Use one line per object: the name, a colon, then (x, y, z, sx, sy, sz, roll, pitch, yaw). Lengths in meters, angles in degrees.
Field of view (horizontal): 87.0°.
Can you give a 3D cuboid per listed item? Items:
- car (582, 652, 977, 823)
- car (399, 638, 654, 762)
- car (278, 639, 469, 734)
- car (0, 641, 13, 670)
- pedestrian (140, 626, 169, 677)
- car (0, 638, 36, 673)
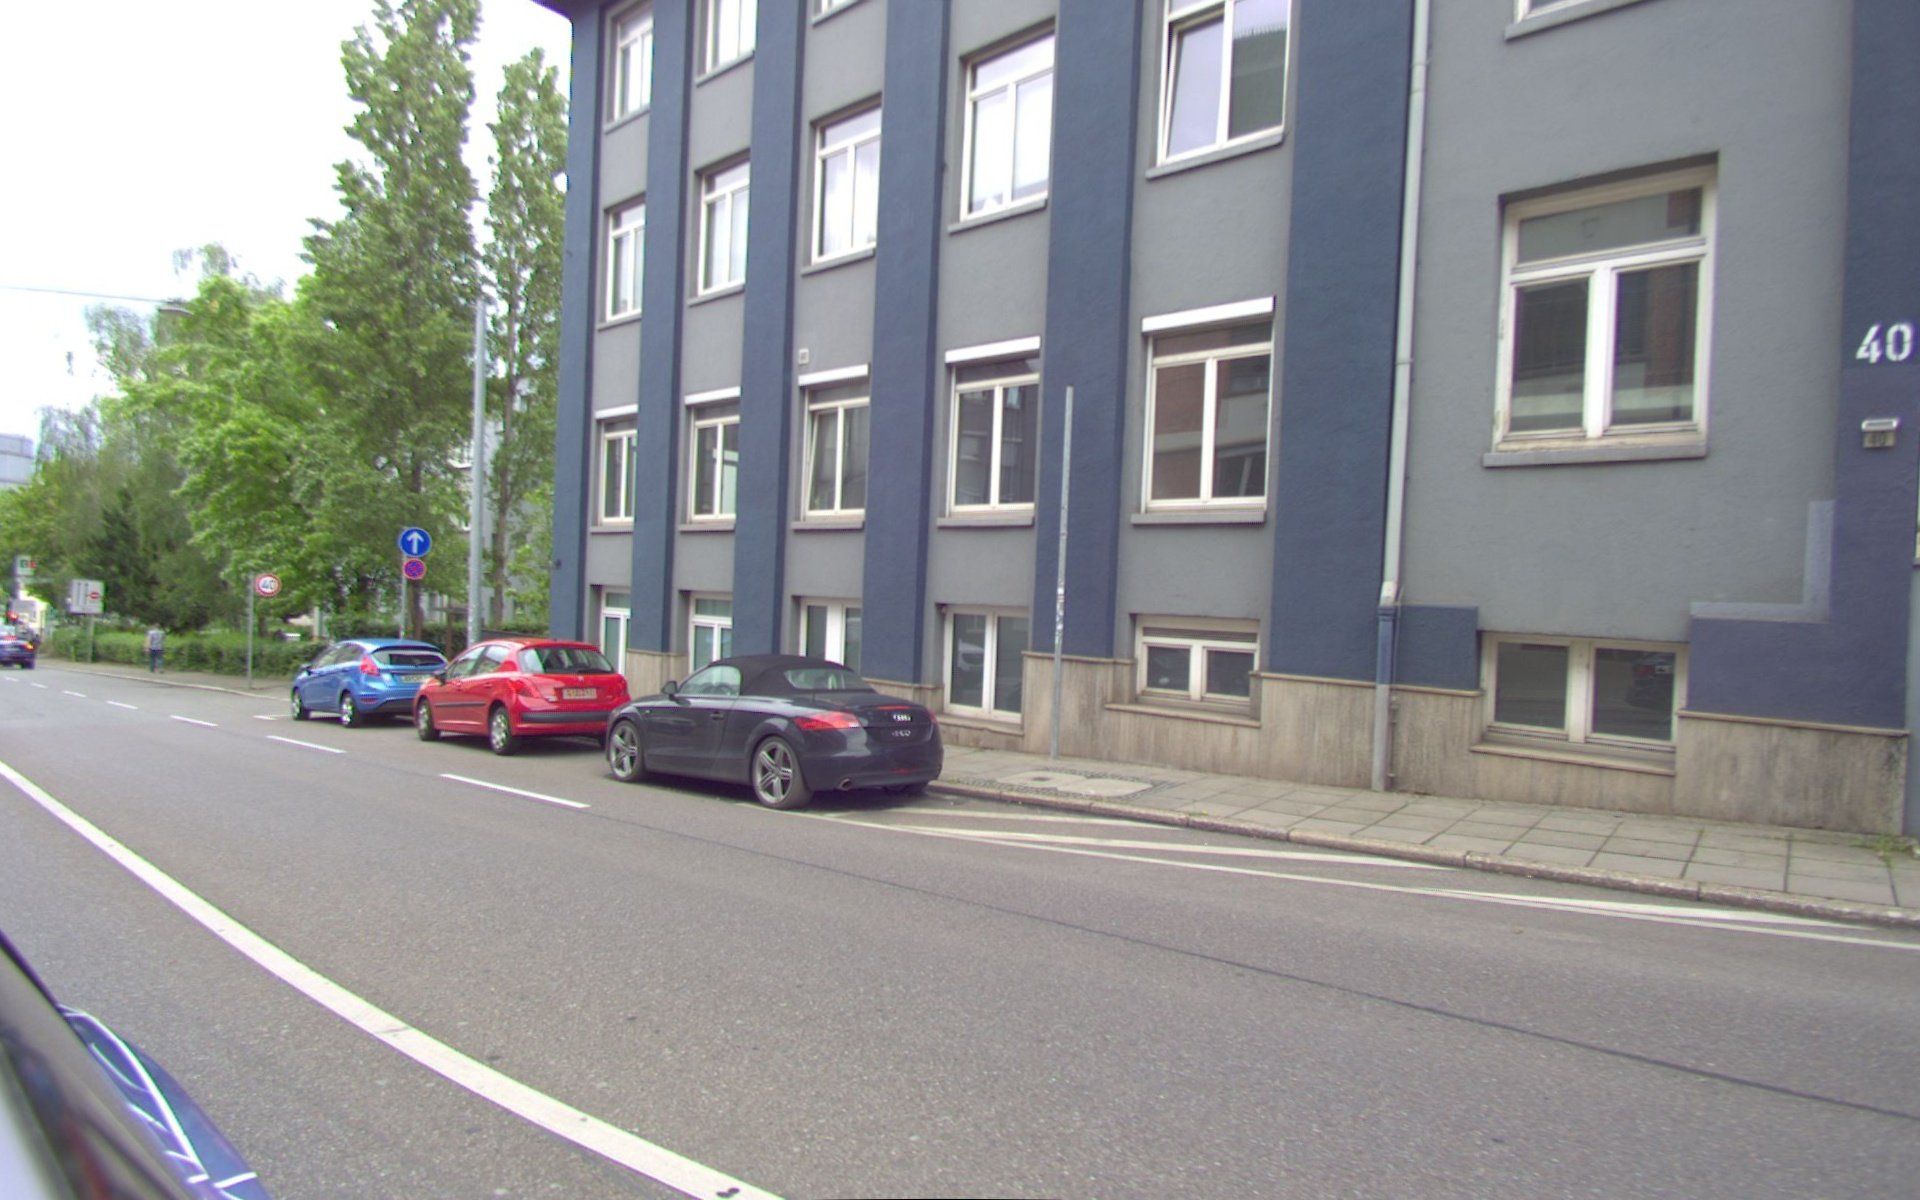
car: (-1.927, 1.222, 10.105, 4.039, 1.337, 1.702, -2, -5, 41)
car: (-6.120, 1.306, 14.103, 3.868, 1.485, 1.795, -2, -5, 43)
car: (-10.298, 1.435, 17.680, 3.724, 1.465, 1.702, -2, -4, 40)
car: (-48.421, 2.727, 50.252, 3.726, 1.427, 1.701, -2, -4, 42)
pedestrian: (-30.415, 1.935, 38.218, 0.776, 1.864, 0.736, -2, -2, 42)
car: (-42.771, 2.456, 45.288, 3.726, 1.495, 1.701, -2, -4, 42)
